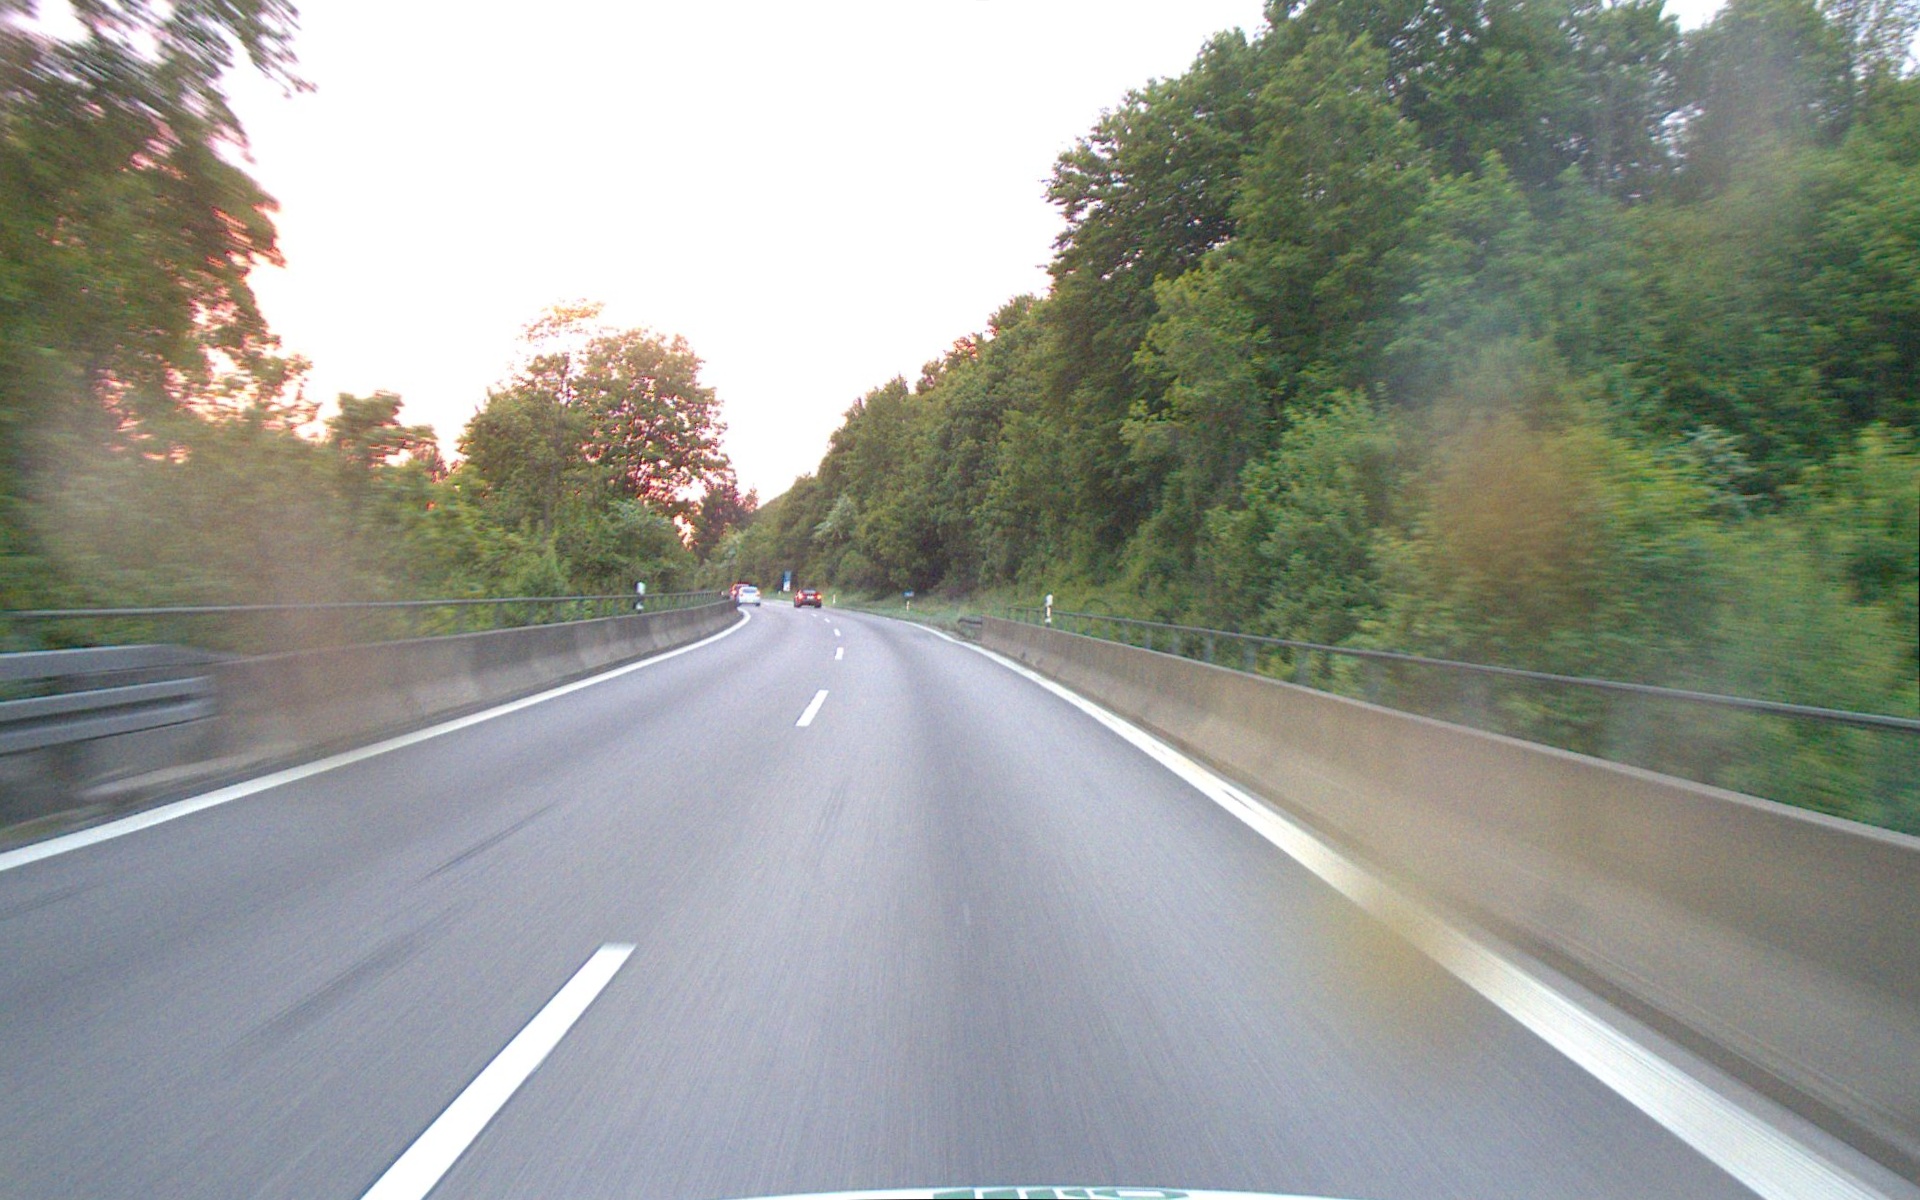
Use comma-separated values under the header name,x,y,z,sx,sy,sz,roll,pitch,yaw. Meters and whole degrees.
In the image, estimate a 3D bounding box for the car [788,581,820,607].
name,x,y,z,sx,sy,sz,roll,pitch,yaw
car,-12.050,-0.480,127.408,1.959,1.675,3.987,4,-3,-12

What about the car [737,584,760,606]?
name,x,y,z,sx,sy,sz,roll,pitch,yaw
car,-16.748,-0.378,131.163,1.685,1.528,3.994,2,-2,-7

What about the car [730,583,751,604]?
name,x,y,z,sx,sy,sz,roll,pitch,yaw
car,-18.937,-0.532,142.891,1.685,1.664,3.995,1,-1,-5

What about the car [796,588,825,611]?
name,x,y,z,sx,sy,sz,roll,pitch,yaw
car,-10.229,-0.039,113.367,1.841,1.492,3.996,2,1,-5
